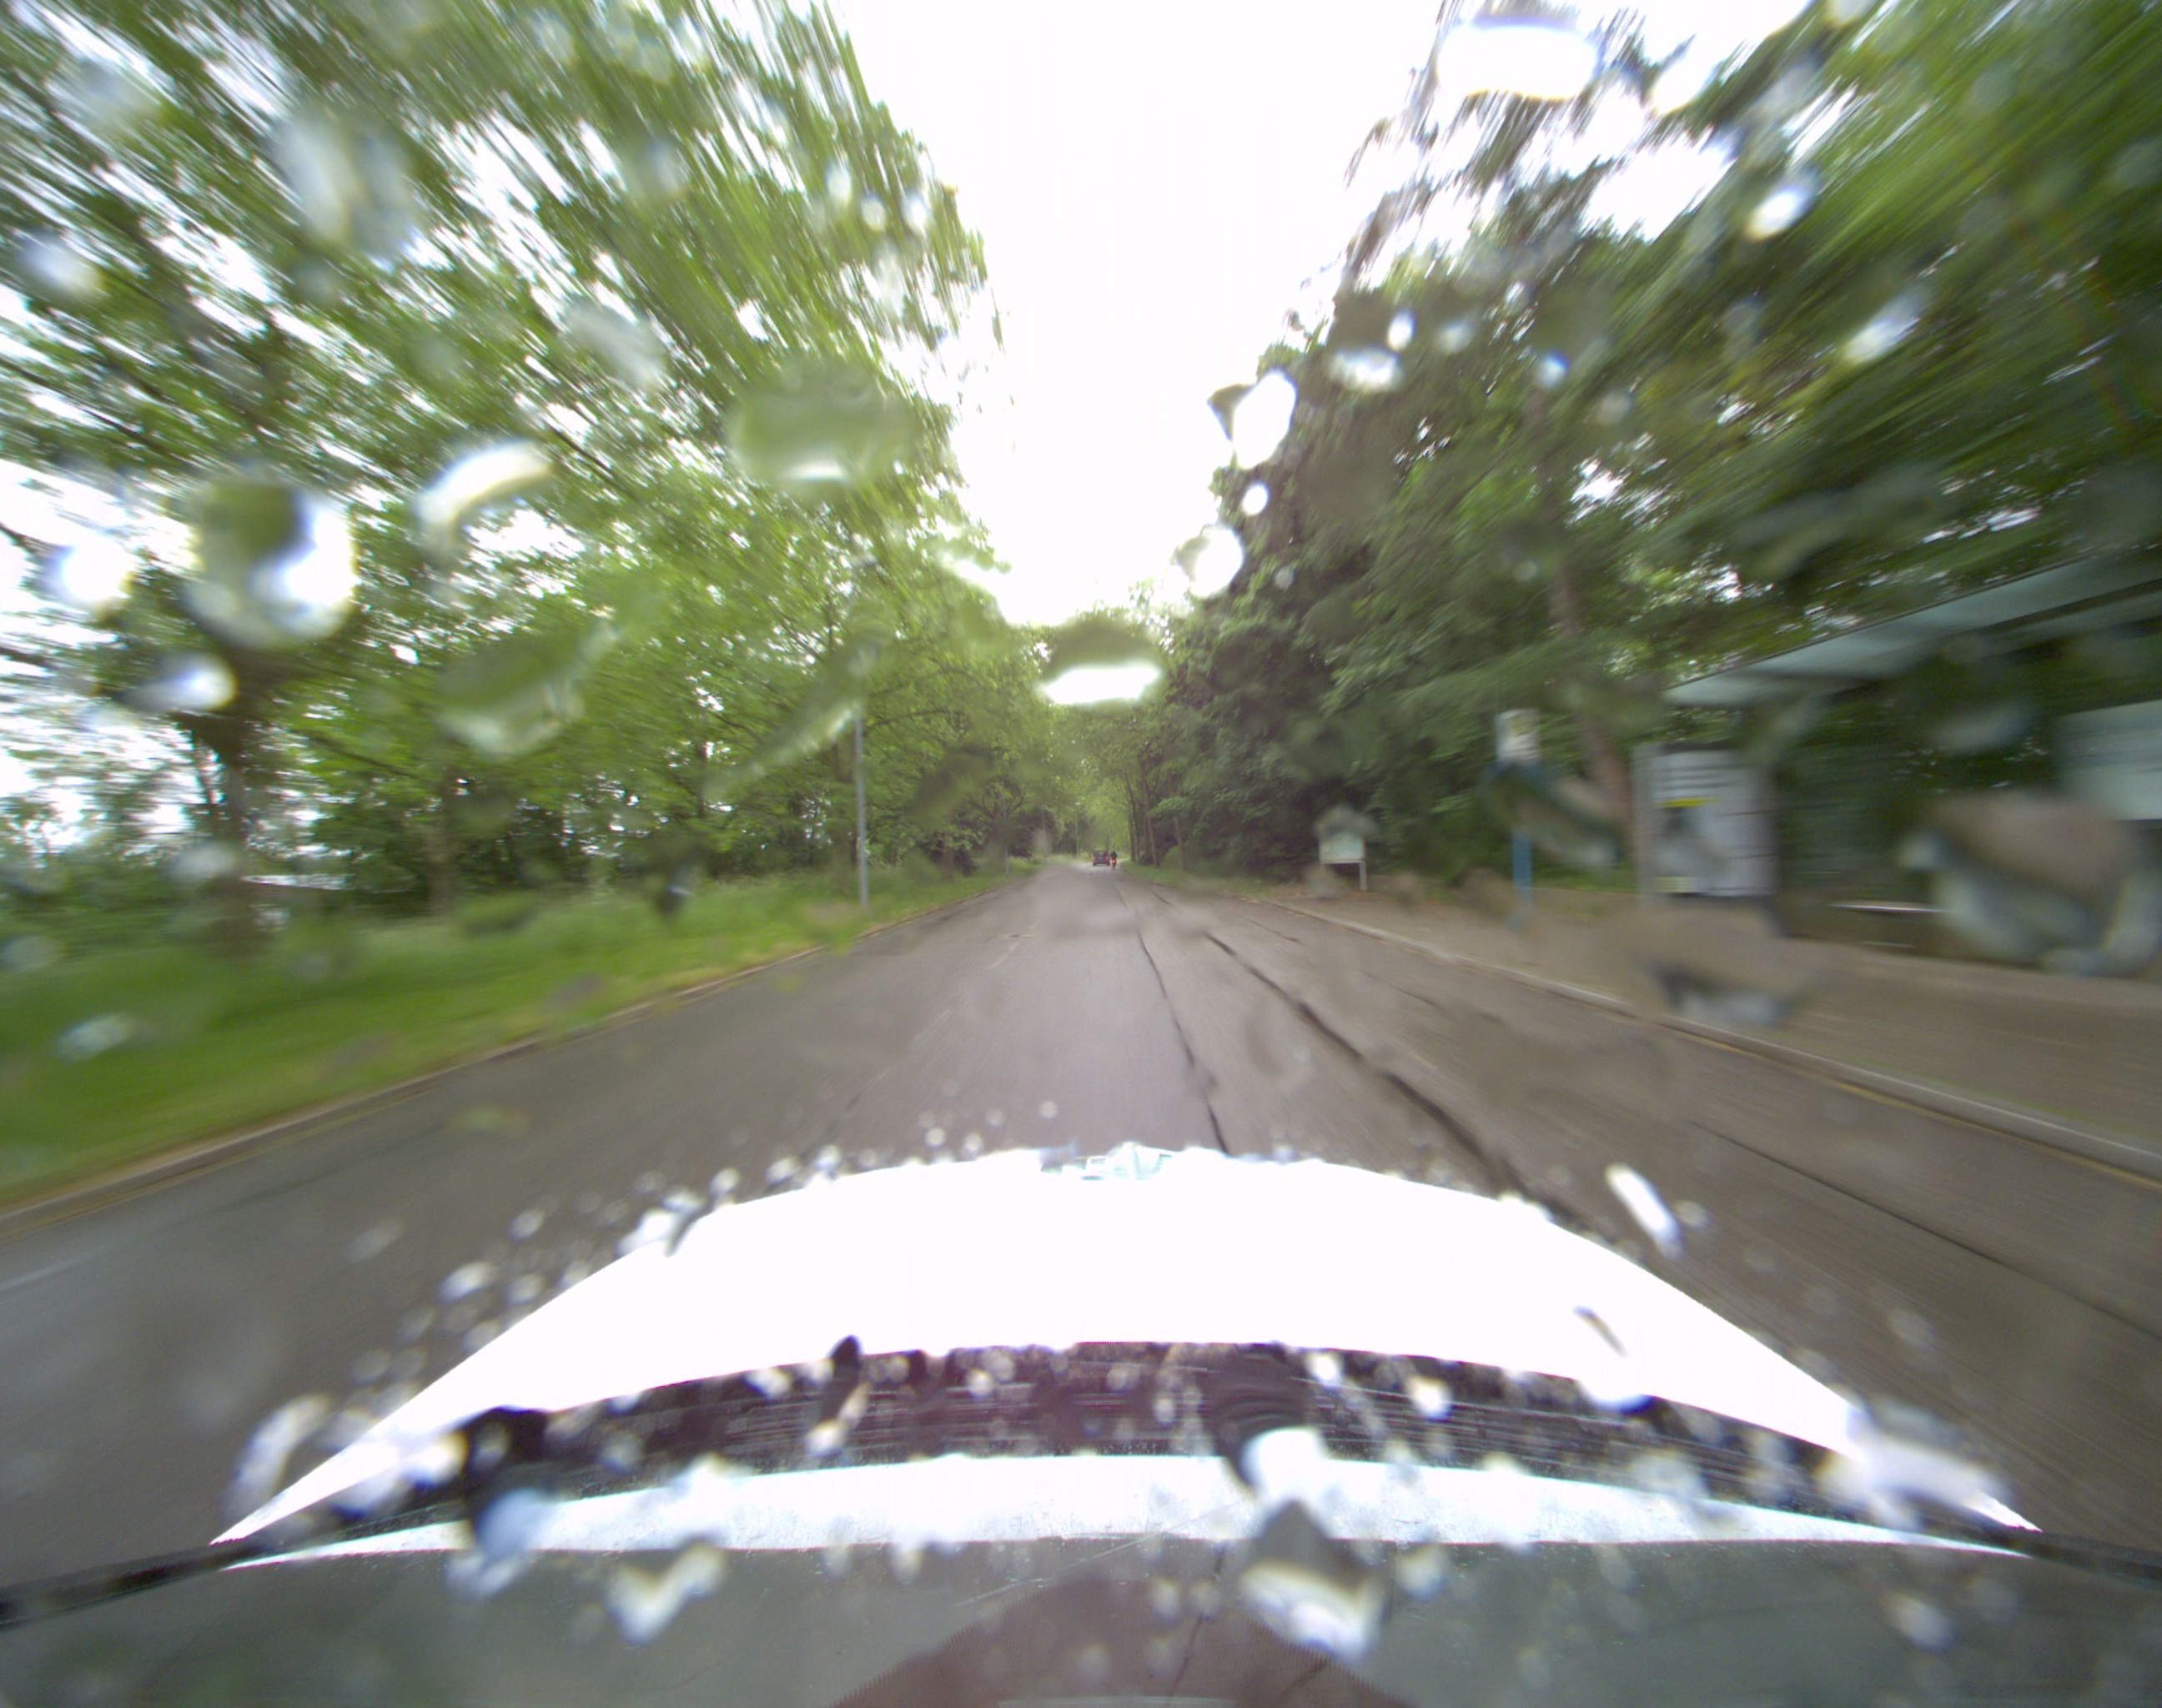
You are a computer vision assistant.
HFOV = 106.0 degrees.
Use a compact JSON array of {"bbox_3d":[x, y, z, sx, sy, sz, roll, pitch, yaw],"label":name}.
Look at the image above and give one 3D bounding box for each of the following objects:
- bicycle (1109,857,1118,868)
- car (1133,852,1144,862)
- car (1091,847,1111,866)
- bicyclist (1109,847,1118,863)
[{"bbox_3d":[2.888,0.761,71.903,0.726,0.974,2.176,-1,0,4],"label":"bicycle"},{"bbox_3d":[11.645,0.595,164.497,1.986,1.816,4.001,-1,0,1],"label":"car"},{"bbox_3d":[2.204,0.268,90.648,1.979,1.925,3.999,-2,0,0],"label":"car"},{"bbox_3d":[2.870,0.056,71.804,0.726,1.411,0.974,-1,0,4],"label":"bicyclist"}]
